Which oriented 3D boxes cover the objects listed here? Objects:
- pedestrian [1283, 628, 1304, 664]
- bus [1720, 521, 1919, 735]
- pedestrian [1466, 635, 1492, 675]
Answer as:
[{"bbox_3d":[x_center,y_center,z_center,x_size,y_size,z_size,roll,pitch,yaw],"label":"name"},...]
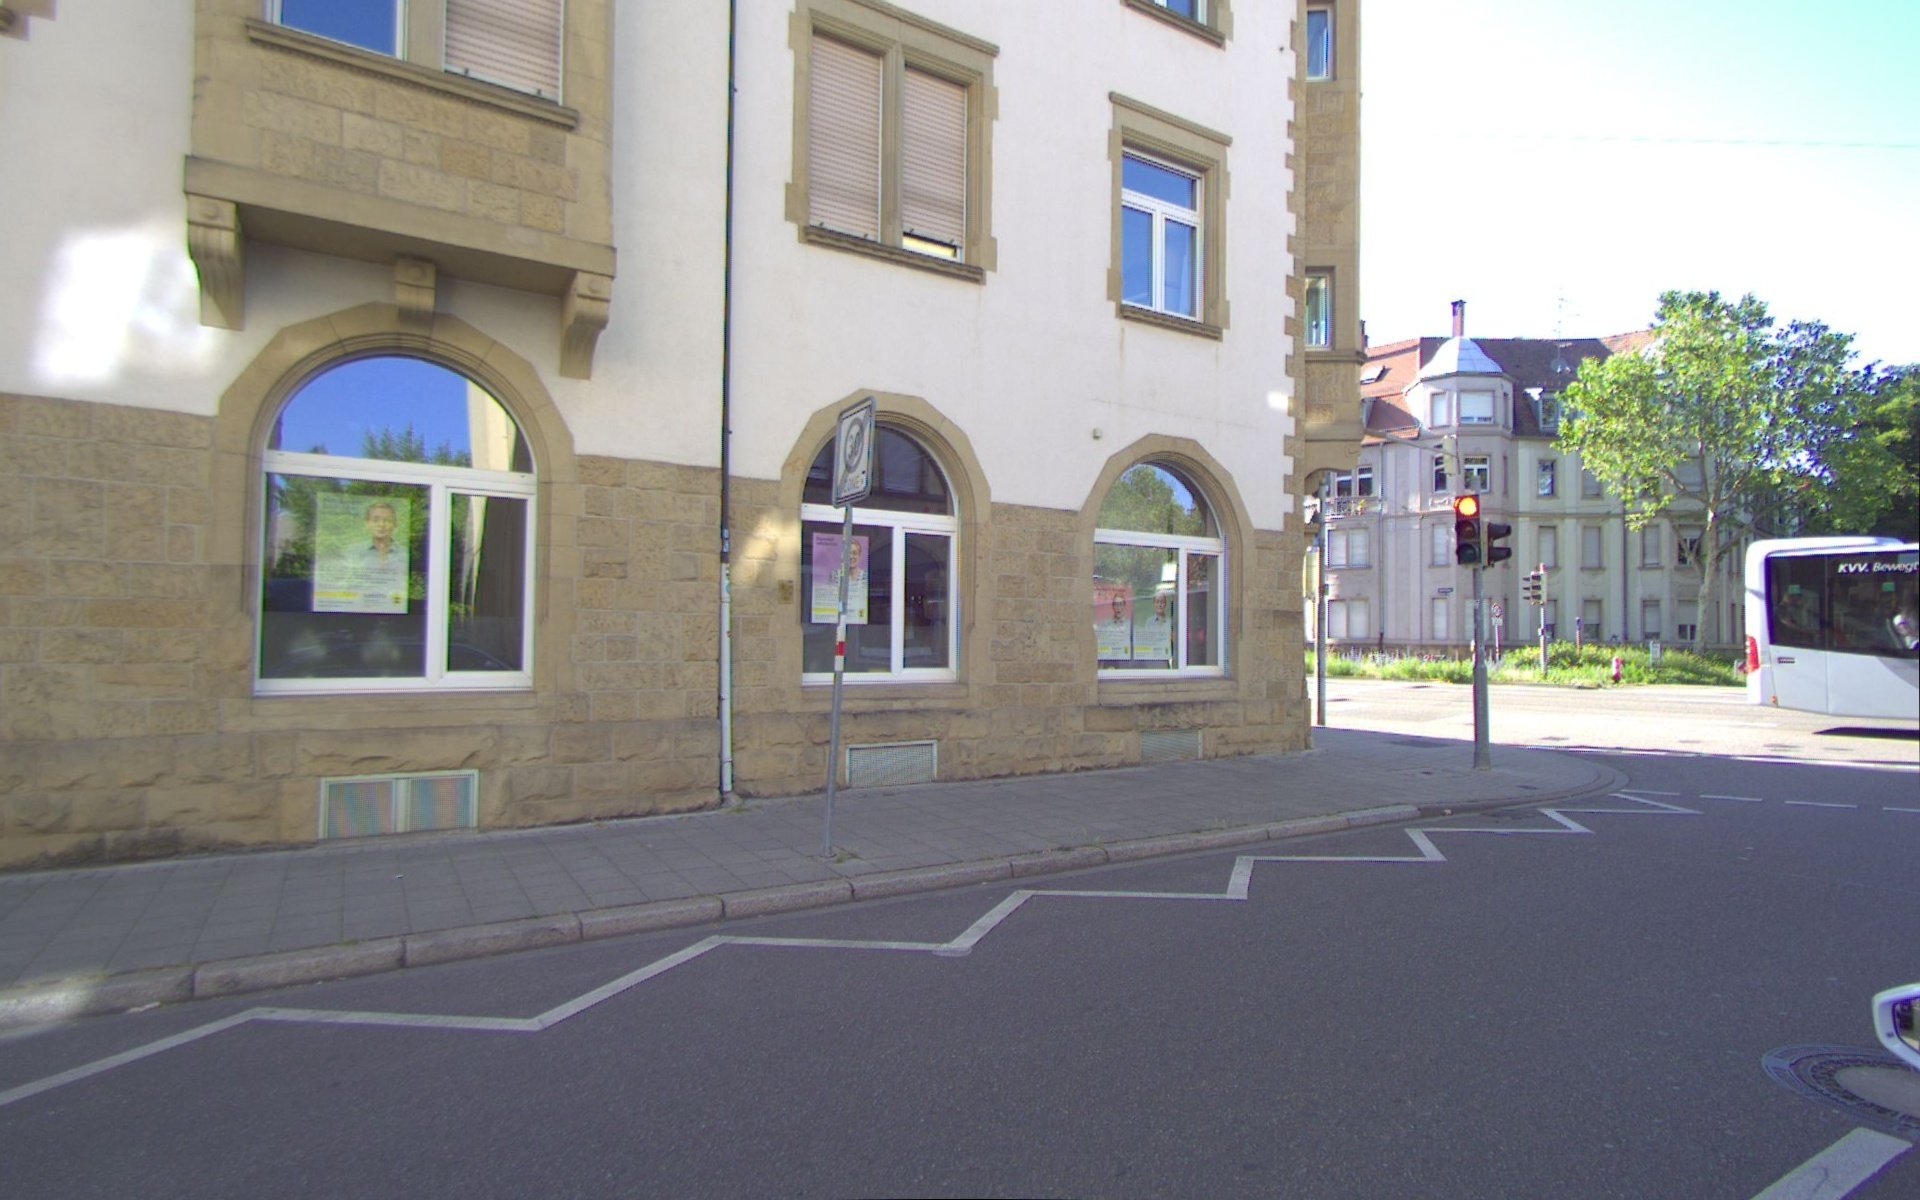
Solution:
[{"bbox_3d":[17.715,2.418,53.329,0.728,1.876,0.846,2,0,42],"label":"pedestrian"},{"bbox_3d":[16.315,0.412,13.997,2.721,3.137,8.759,2,-2,-37],"label":"bus"},{"bbox_3d":[24.719,2.605,47.856,0.724,1.876,0.850,2,0,-1],"label":"pedestrian"}]
